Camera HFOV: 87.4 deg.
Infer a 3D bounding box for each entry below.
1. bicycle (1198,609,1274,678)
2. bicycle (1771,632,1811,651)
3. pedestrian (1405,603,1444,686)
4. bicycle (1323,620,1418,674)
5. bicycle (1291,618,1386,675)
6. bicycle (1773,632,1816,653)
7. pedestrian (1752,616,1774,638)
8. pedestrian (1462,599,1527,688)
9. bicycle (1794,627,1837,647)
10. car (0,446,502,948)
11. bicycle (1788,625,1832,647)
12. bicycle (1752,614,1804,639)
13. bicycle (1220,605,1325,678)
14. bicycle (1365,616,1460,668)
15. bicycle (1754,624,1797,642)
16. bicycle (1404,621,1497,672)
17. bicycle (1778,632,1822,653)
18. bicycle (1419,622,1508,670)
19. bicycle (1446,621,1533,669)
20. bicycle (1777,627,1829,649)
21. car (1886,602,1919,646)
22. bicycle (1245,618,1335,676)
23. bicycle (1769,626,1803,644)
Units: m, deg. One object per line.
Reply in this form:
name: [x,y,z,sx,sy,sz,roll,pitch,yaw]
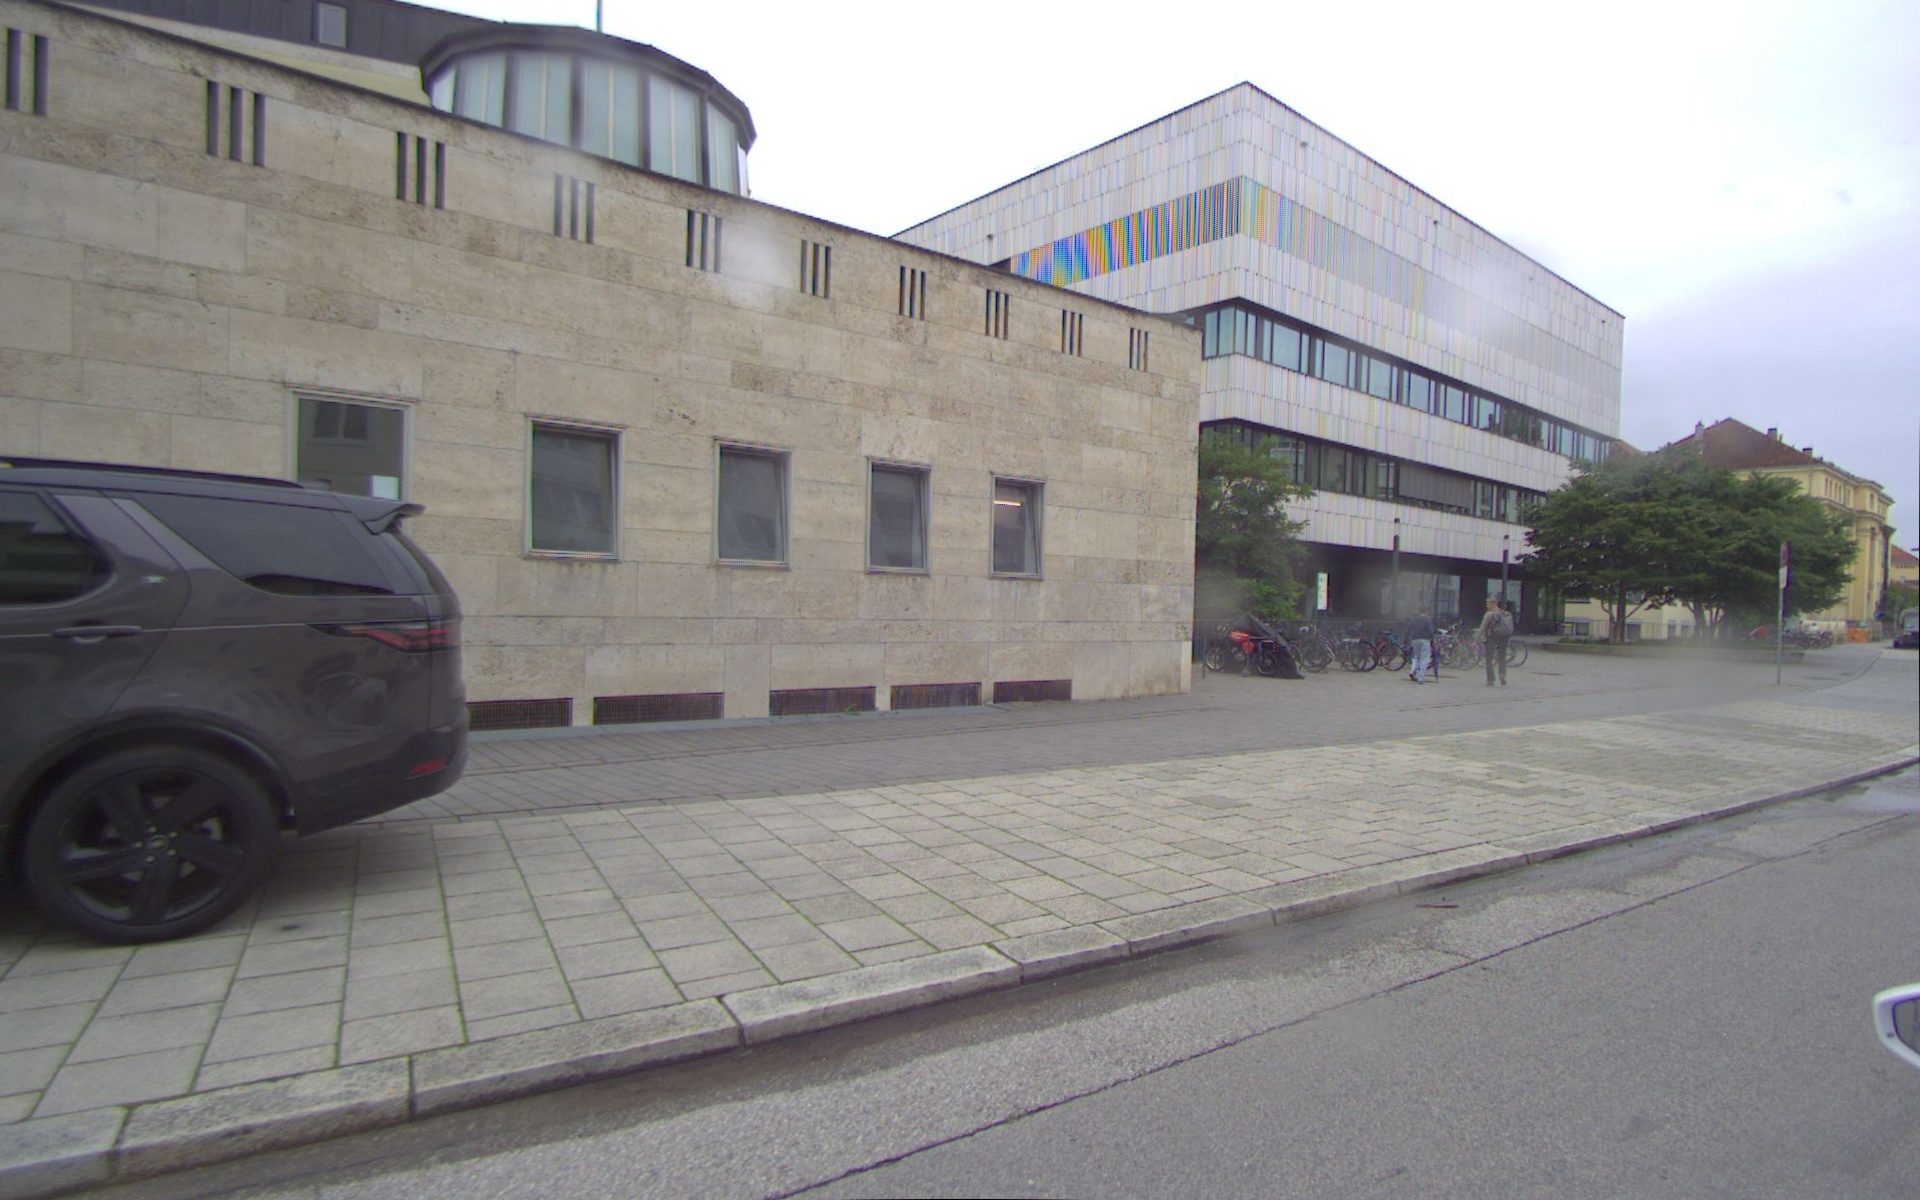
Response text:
bicycle: [5.627,0.872,20.505,0.459,1.277,1.437,0,3,-41]
bicycle: [47.436,2.379,57.356,0.589,0.929,1.662,0,3,-36]
pedestrian: [9.549,0.905,20.668,0.632,1.623,0.606,3,3,24]
bicycle: [10.030,1.124,24.592,2.023,1.126,0.613,4,3,43]
bicycle: [8.801,1.058,23.433,0.611,1.126,2.030,0,3,-37]
bicycle: [48.702,2.459,58.633,0.502,1.047,1.778,0,3,-36]
pedestrian: [44.343,1.498,55.479,1.032,1.178,0.711,0,3,-42]
pedestrian: [11.039,0.888,20.750,0.811,1.763,0.790,1,3,-30]
bicycle: [53.824,2.296,63.221,0.671,1.107,1.891,0,3,-36]
car: [-4.572,0.320,4.021,4.762,1.795,1.982,1,1,-33]
bicycle: [52.603,2.218,62.149,0.567,1.147,1.942,0,3,-36]
bicycle: [45.998,1.456,56.495,0.779,1.244,2.089,0,3,-36]
bicycle: [6.641,0.852,21.467,0.609,1.370,2.079,0,3,-41]
bicycle: [11.276,1.021,25.068,2.023,1.126,0.613,4,3,43]
bicycle: [44.147,1.783,54.383,0.435,0.874,1.704,0,3,-40]
bicycle: [12.607,1.173,25.891,0.612,1.126,2.025,0,3,-43]
bicycle: [49.371,2.481,59.043,0.534,1.043,1.853,0,3,-36]
bicycle: [13.586,1.219,27.154,0.612,1.126,2.025,0,3,-43]
bicycle: [14.715,1.231,27.965,0.612,1.126,2.025,0,3,-43]
bicycle: [50.608,2.282,60.337,0.576,1.150,2.293,0,3,-36]
car: [62.892,1.614,66.294,2.394,2.751,5.922,1,-1,41]
bicycle: [7.448,1.031,22.777,0.609,1.126,2.035,1,3,-30]
bicycle: [45.184,1.905,54.939,0.435,0.874,1.360,0,3,-40]
